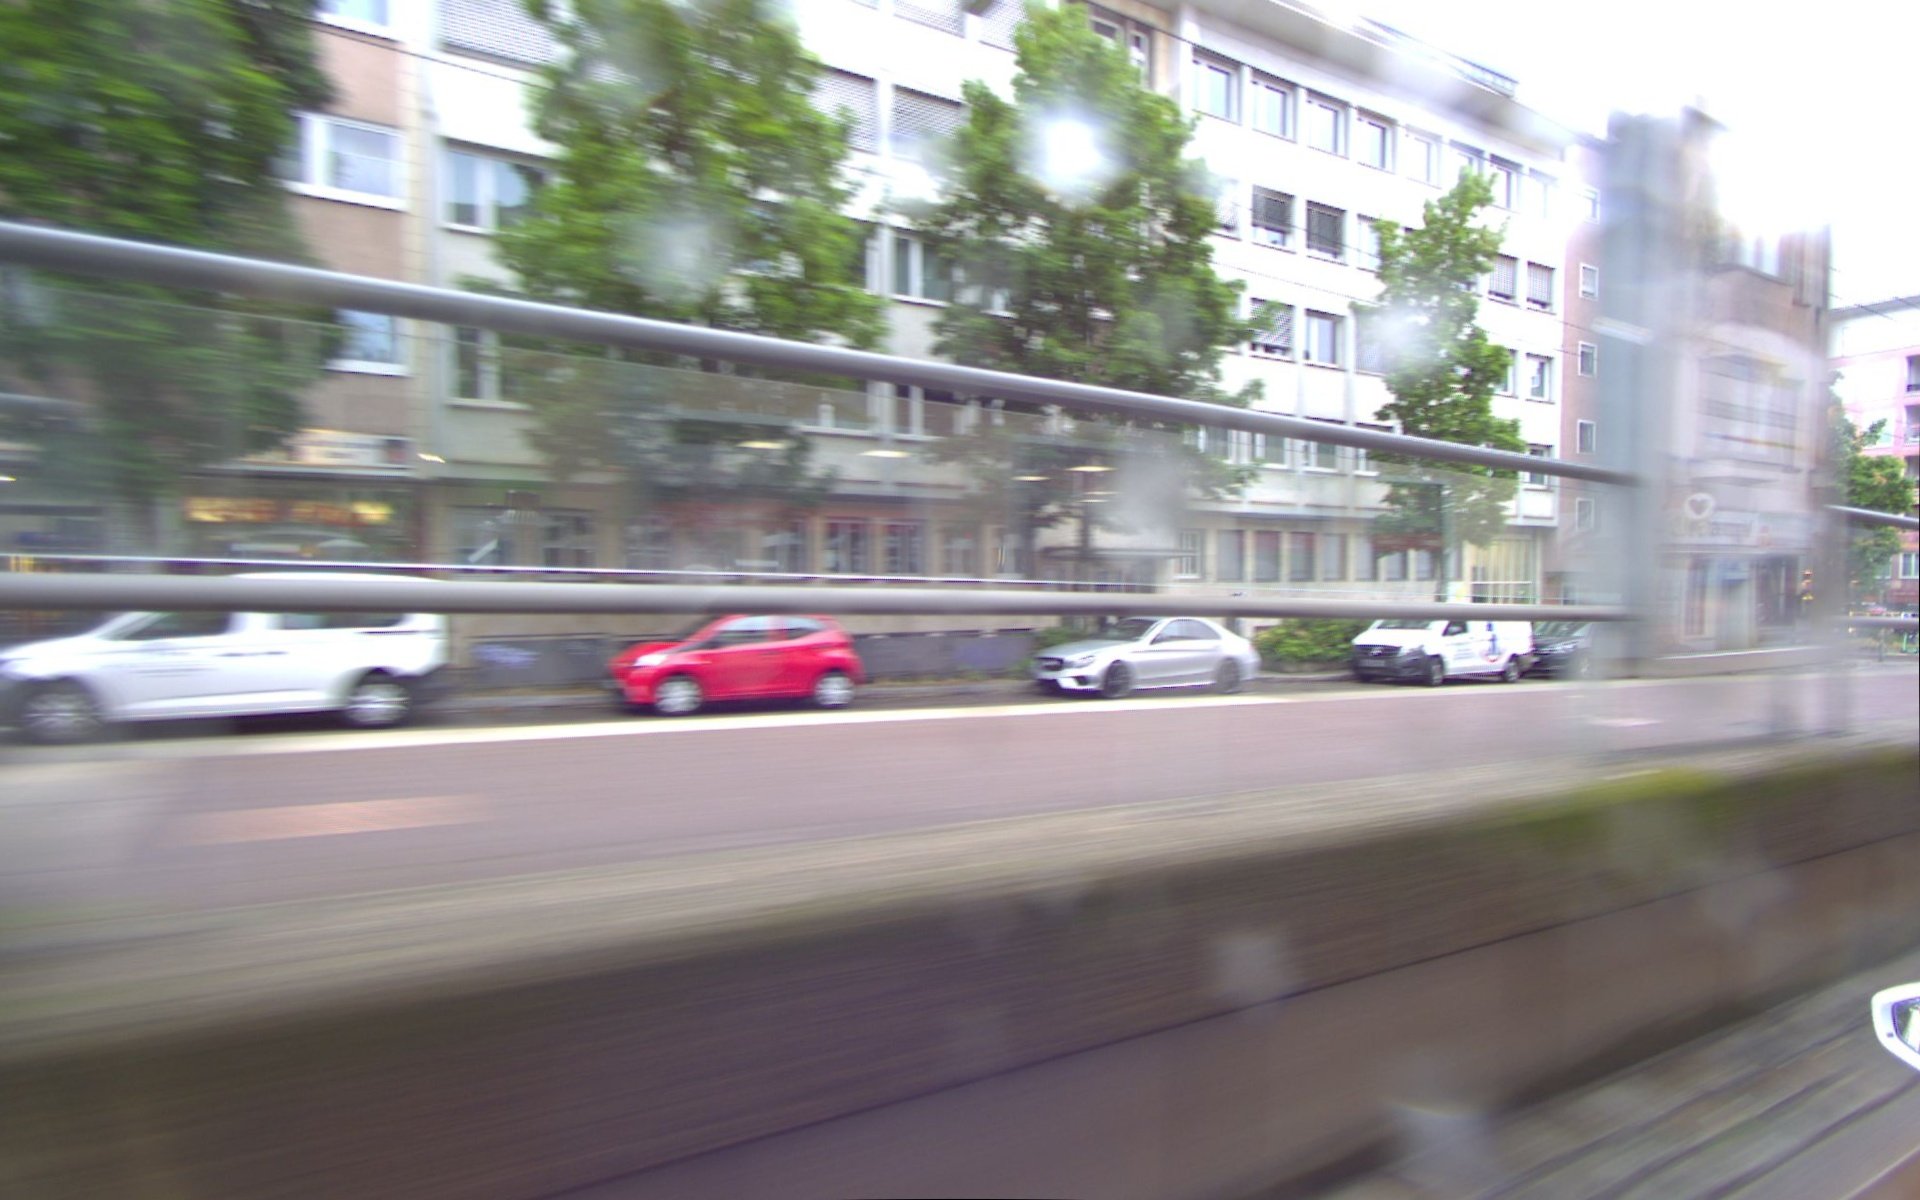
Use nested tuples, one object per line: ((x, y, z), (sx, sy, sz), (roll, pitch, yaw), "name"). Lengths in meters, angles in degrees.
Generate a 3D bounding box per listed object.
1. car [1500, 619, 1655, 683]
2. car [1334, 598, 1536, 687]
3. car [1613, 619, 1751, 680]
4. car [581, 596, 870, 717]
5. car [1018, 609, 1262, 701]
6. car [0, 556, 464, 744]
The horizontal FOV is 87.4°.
((16.269, 1.313, 26.405), (4.319, 1.557, 1.631), (2, -1, -30), "car")
((11.102, 0.944, 23.322), (5.204, 1.869, 1.895), (2, -1, -35), "car")
((21.016, 1.409, 29.188), (4.319, 1.645, 1.631), (2, -1, -30), "car")
((-3.369, 0.770, 14.613), (3.761, 1.559, 1.630), (2, -1, -32), "car")
((3.361, 0.963, 18.413), (4.483, 1.481, 1.682), (2, -1, -34), "car")
((-8.231, 0.538, 11.557), (4.382, 1.841, 1.665), (2, -1, -32), "car")
